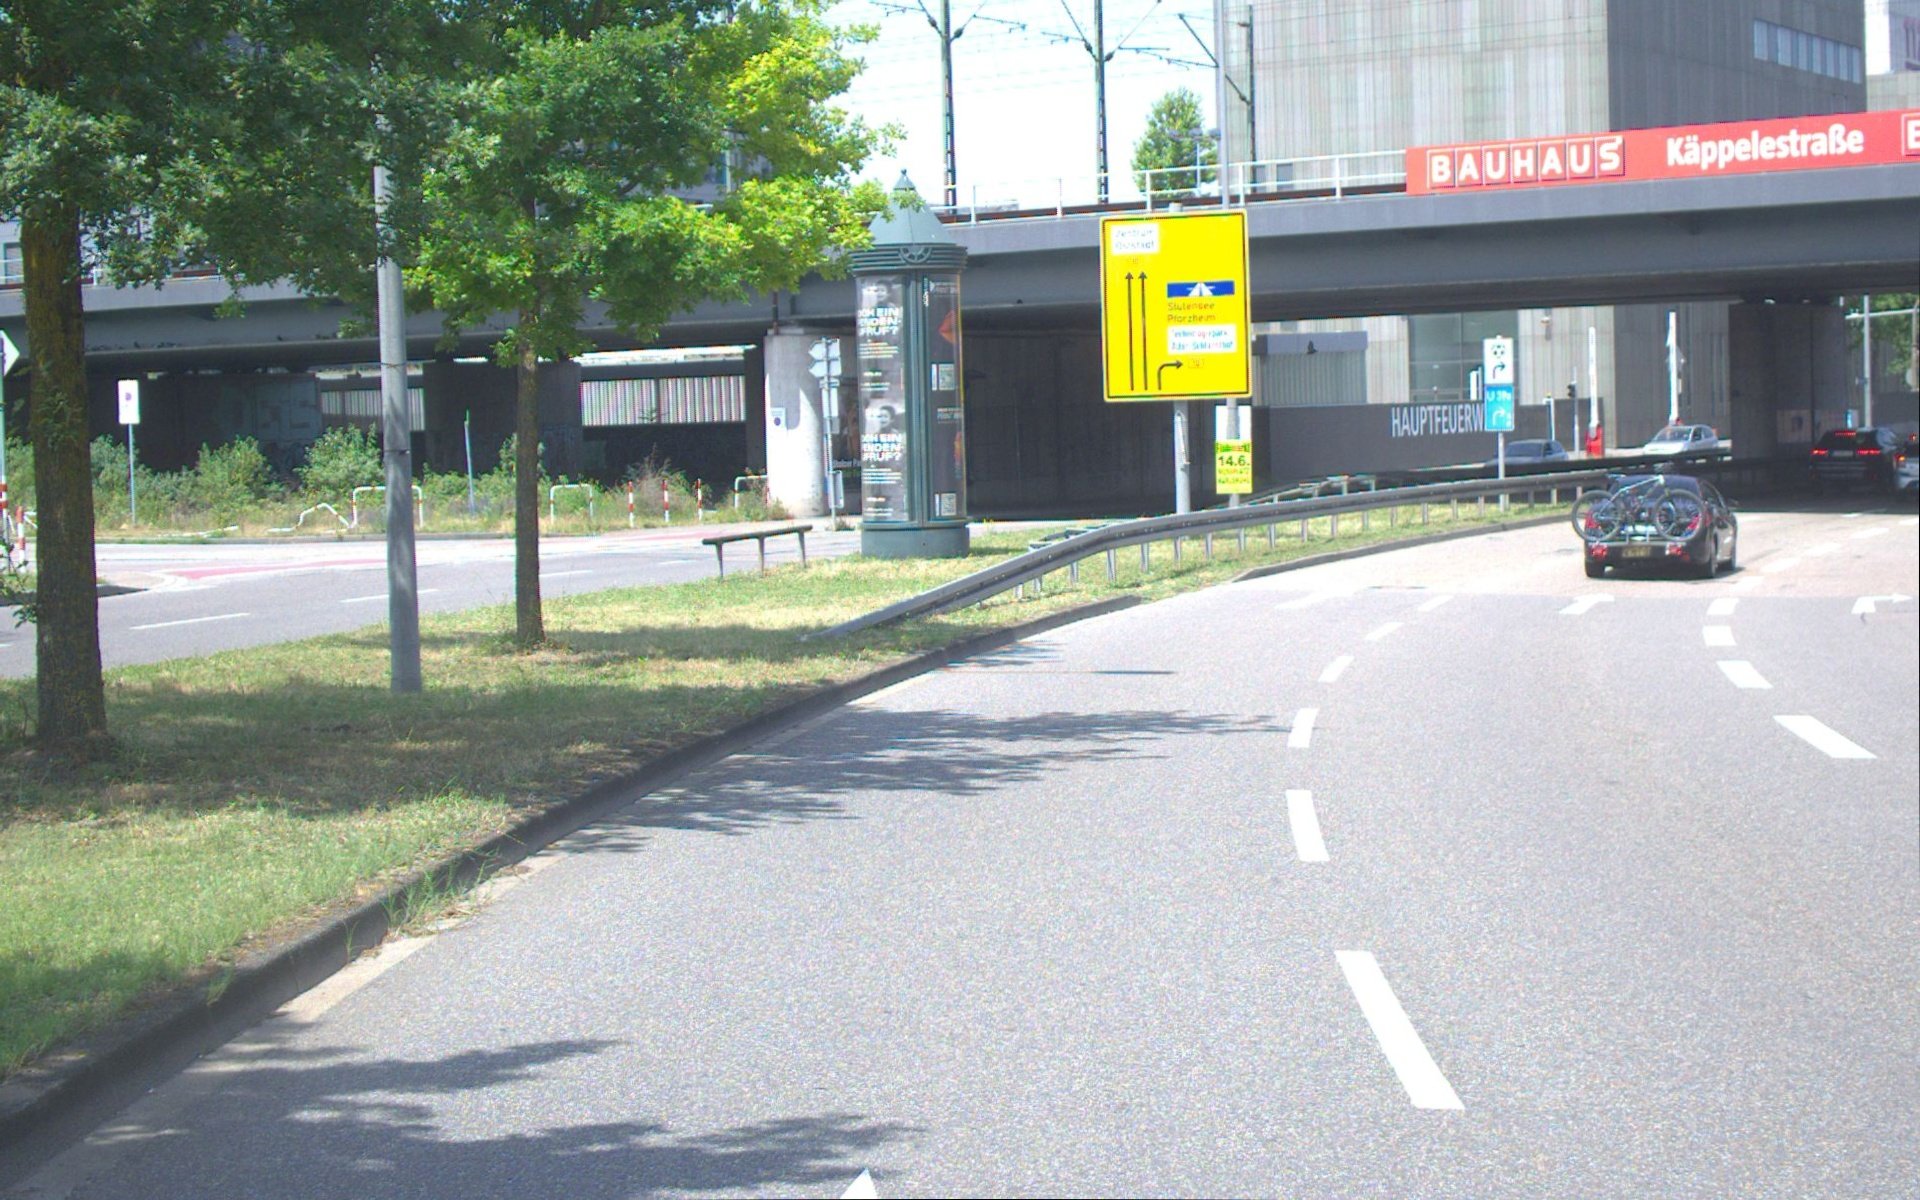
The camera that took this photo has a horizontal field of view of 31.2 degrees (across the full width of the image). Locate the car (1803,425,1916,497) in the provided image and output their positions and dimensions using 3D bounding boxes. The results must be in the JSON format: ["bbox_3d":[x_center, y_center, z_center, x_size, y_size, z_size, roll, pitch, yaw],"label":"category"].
[{"bbox_3d":[22.298,-3.454,85.115,1.943,1.715,3.995,1,3,26],"label":"car"}]

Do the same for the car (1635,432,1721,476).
[{"bbox_3d":[25.754,-5.231,123.282,1.996,1.436,3.994,-2,1,27],"label":"car"}]

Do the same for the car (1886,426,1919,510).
[{"bbox_3d":[22.769,-3.077,79.573,1.843,1.883,3.995,0,3,26],"label":"car"}]

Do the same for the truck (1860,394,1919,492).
[{"bbox_3d":[25.643,-4.215,91.794,2.071,2.529,3.994,-1,2,30],"label":"truck"}]

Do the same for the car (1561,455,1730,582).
[{"bbox_3d":[9.571,-1.168,47.756,1.958,1.628,4.277,0,3,16],"label":"car"}]

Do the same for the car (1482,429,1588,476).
[{"bbox_3d":[17.562,-4.508,104.931,1.657,1.374,4.210,1,3,33],"label":"car"}]
